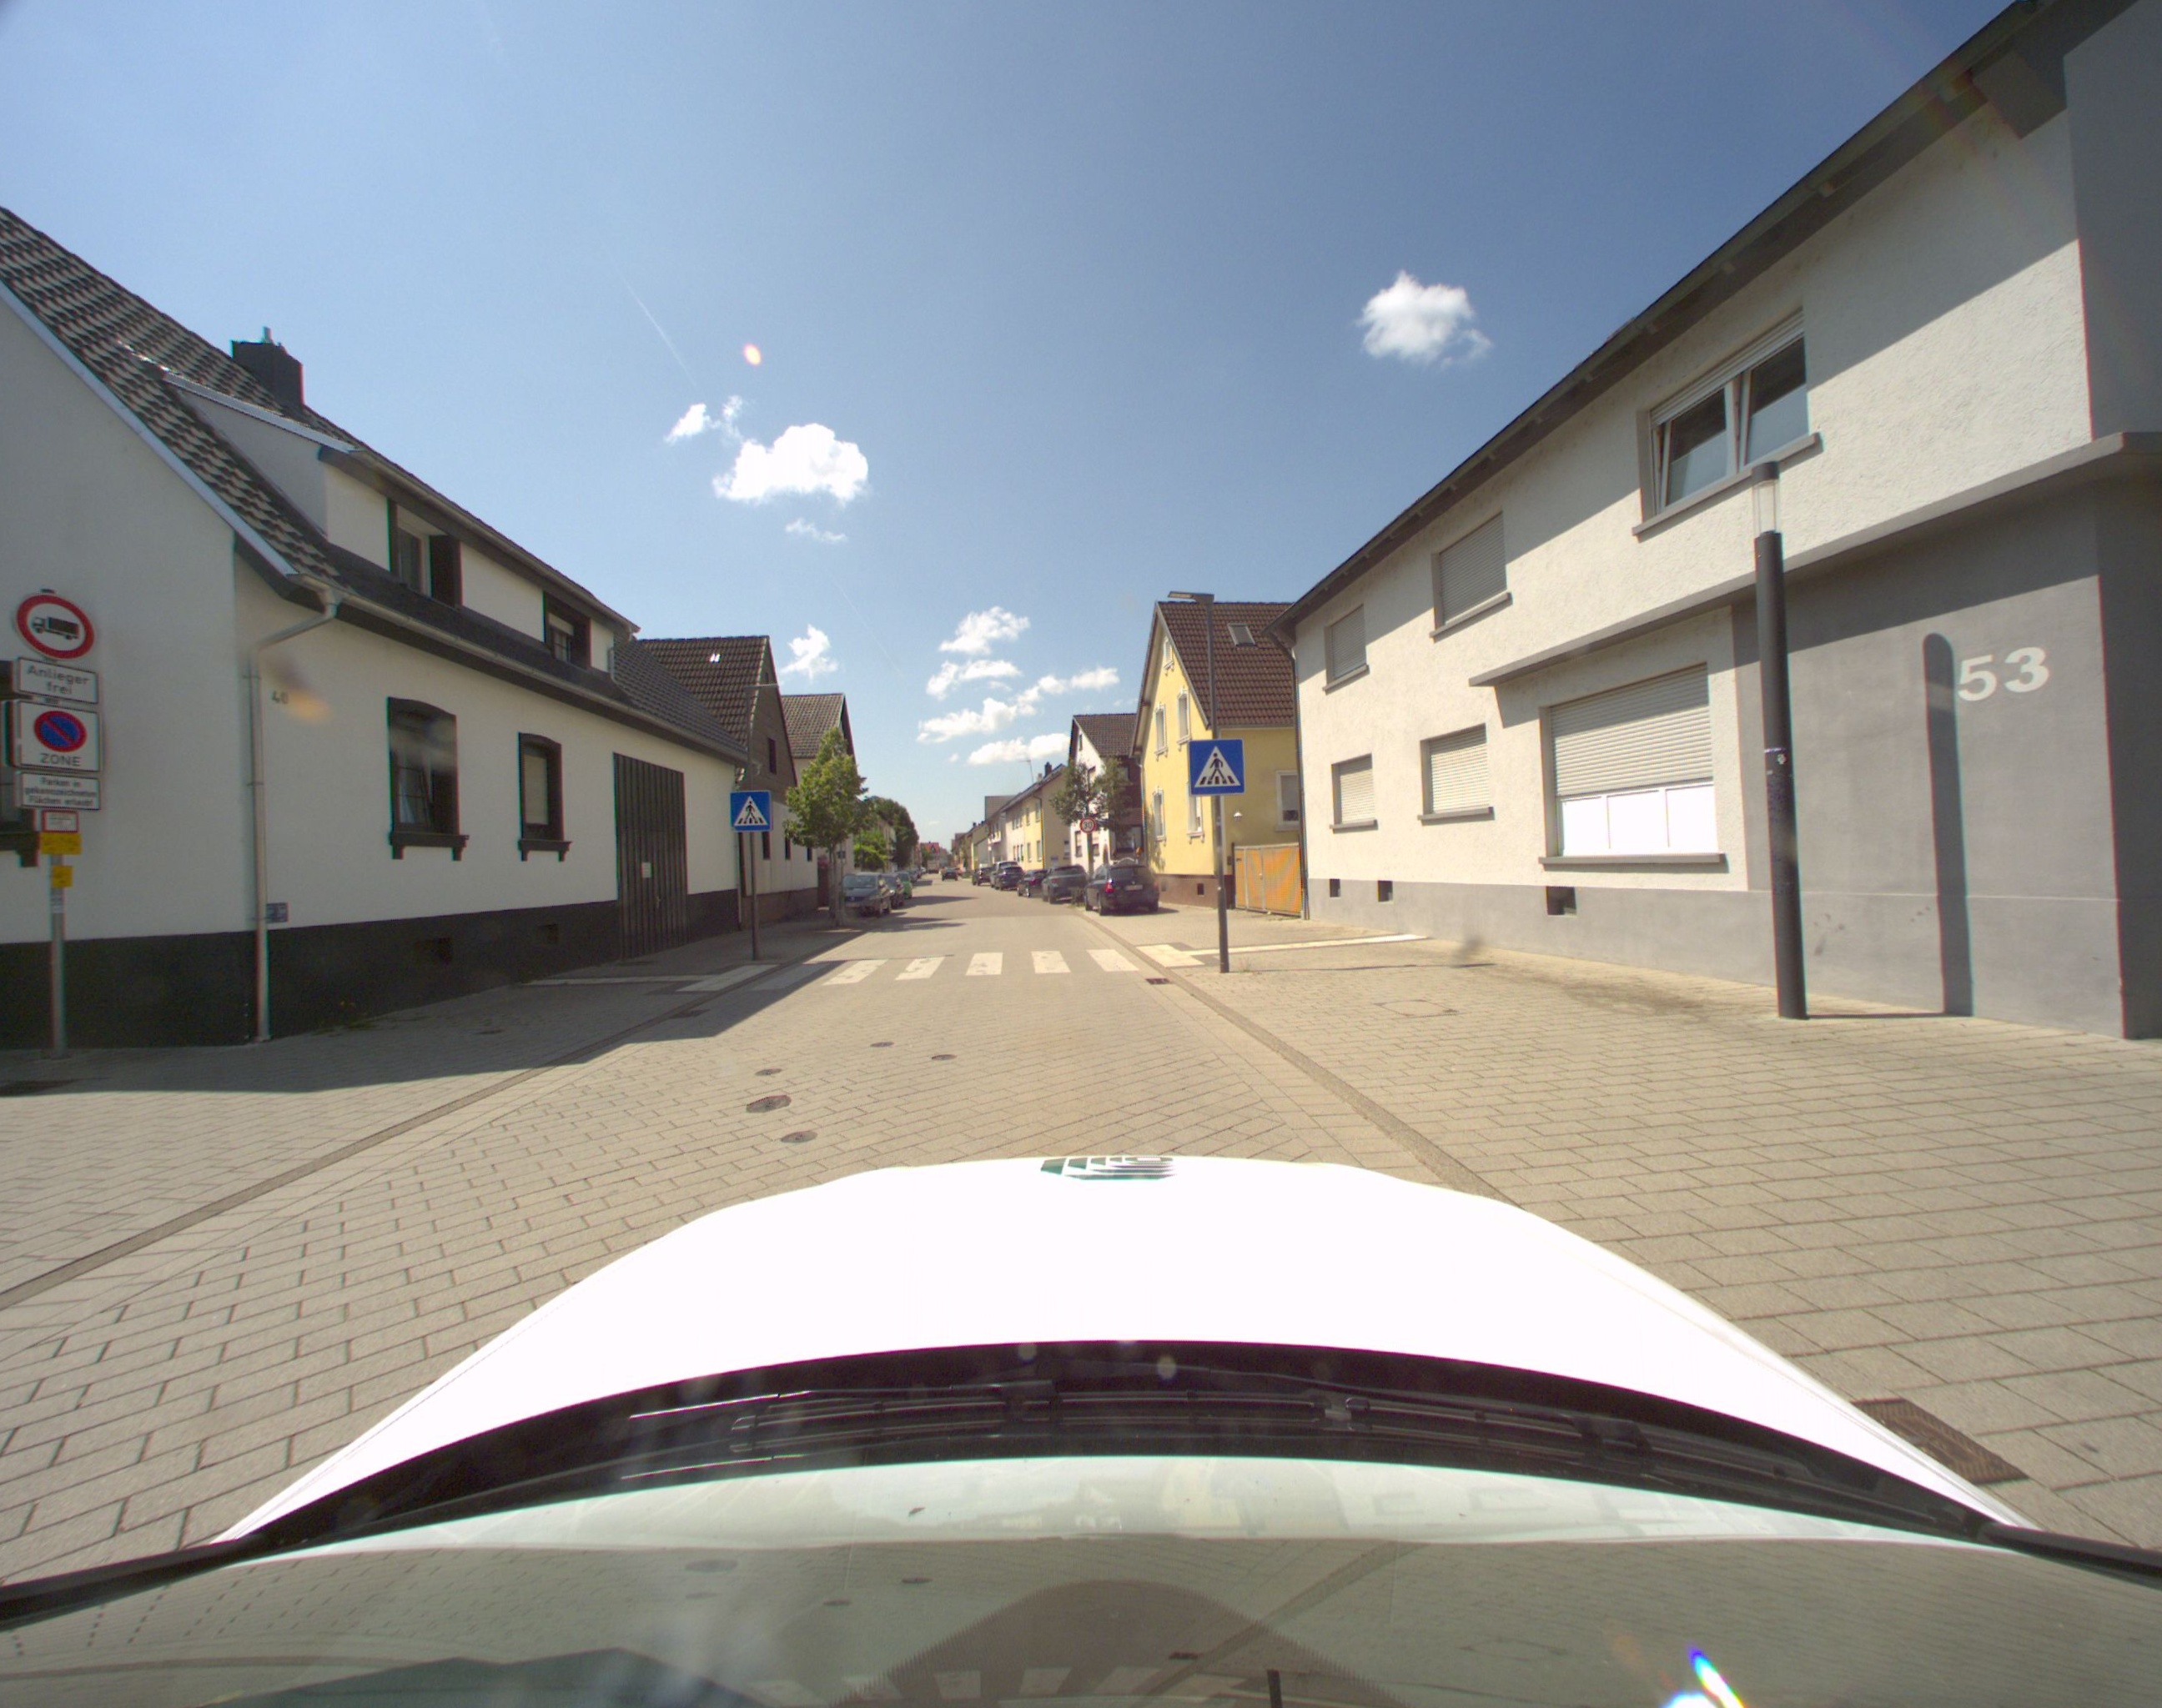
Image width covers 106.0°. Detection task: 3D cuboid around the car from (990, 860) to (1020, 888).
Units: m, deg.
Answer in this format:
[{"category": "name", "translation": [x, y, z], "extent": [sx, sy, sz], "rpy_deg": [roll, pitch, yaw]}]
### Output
[{"category": "car", "translation": [-5.727, 1.474, 61.059], "extent": [1.906, 1.872, 3.987], "rpy_deg": [-3, 0, -9]}]

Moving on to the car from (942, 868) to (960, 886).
[{"category": "car", "translation": [-15.771, 2.731, 98.868], "extent": [1.993, 2.058, 4.359], "rpy_deg": [-3, 0, -10]}]

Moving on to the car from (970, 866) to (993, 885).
[{"category": "car", "translation": [-8.538, 1.819, 69.783], "extent": [1.754, 1.493, 3.987], "rpy_deg": [-3, 0, -9]}]

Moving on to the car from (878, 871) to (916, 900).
[{"category": "car", "translation": [-10.396, 1.747, 46.141], "extent": [1.793, 1.475, 3.858], "rpy_deg": [-3, 0, -9]}]

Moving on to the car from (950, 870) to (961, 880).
[{"category": "car", "translation": [-20.843, 3.459, 134.919], "extent": [1.687, 1.452, 3.780], "rpy_deg": [-3, 0, -9]}]

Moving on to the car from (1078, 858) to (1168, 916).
[{"category": "car", "translation": [1.192, 0.967, 25.052], "extent": [1.829, 1.471, 4.262], "rpy_deg": [-4, -1, -9]}]

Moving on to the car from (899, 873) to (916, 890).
[{"category": "car", "translation": [-19.850, 3.104, 93.411], "extent": [1.683, 1.758, 3.603], "rpy_deg": [-3, 0, -10]}]

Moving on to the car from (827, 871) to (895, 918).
[{"category": "car", "translation": [-7.926, 1.402, 29.602], "extent": [1.745, 1.530, 3.991], "rpy_deg": [-1, -1, -6]}]

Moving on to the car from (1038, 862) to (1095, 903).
[{"category": "car", "translation": [-0.664, 1.179, 34.508], "extent": [1.846, 1.562, 3.682], "rpy_deg": [-3, 0, -9]}]

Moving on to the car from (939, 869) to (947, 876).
[{"category": "car", "translation": [-30.646, 4.052, 181.071], "extent": [1.689, 1.452, 3.777], "rpy_deg": [-3, 0, -11]}]

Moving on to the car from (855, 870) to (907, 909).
[{"category": "car", "translation": [-8.760, 1.517, 35.928], "extent": [1.750, 1.532, 4.247], "rpy_deg": [-1, -1, -8]}]

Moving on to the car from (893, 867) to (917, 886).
[{"category": "car", "translation": [-17.396, 2.194, 80.673], "extent": [1.993, 1.662, 3.986], "rpy_deg": [-3, 0, -10]}]

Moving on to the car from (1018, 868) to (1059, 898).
[{"category": "car", "translation": [-2.239, 1.446, 41.971], "extent": [1.710, 1.387, 3.694], "rpy_deg": [-3, 0, -9]}]

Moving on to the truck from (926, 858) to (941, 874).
[{"category": "truck", "translation": [-38.776, 3.153, 214.078], "extent": [3.567, 3.954, 8.546], "rpy_deg": [-3, 0, -12]}]

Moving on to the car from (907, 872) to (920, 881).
[{"category": "car", "translation": [-27.838, 3.758, 135.535], "extent": [1.917, 1.442, 3.986], "rpy_deg": [-3, 0, -10]}]

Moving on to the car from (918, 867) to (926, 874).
[{"category": "car", "translation": [-41.148, 4.246, 210.793], "extent": [1.847, 1.707, 3.707], "rpy_deg": [-3, 0, -10]}]

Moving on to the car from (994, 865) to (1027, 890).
[{"category": "car", "translation": [-4.854, 1.583, 55.535], "extent": [1.877, 1.591, 3.987], "rpy_deg": [-3, 0, -9]}]
